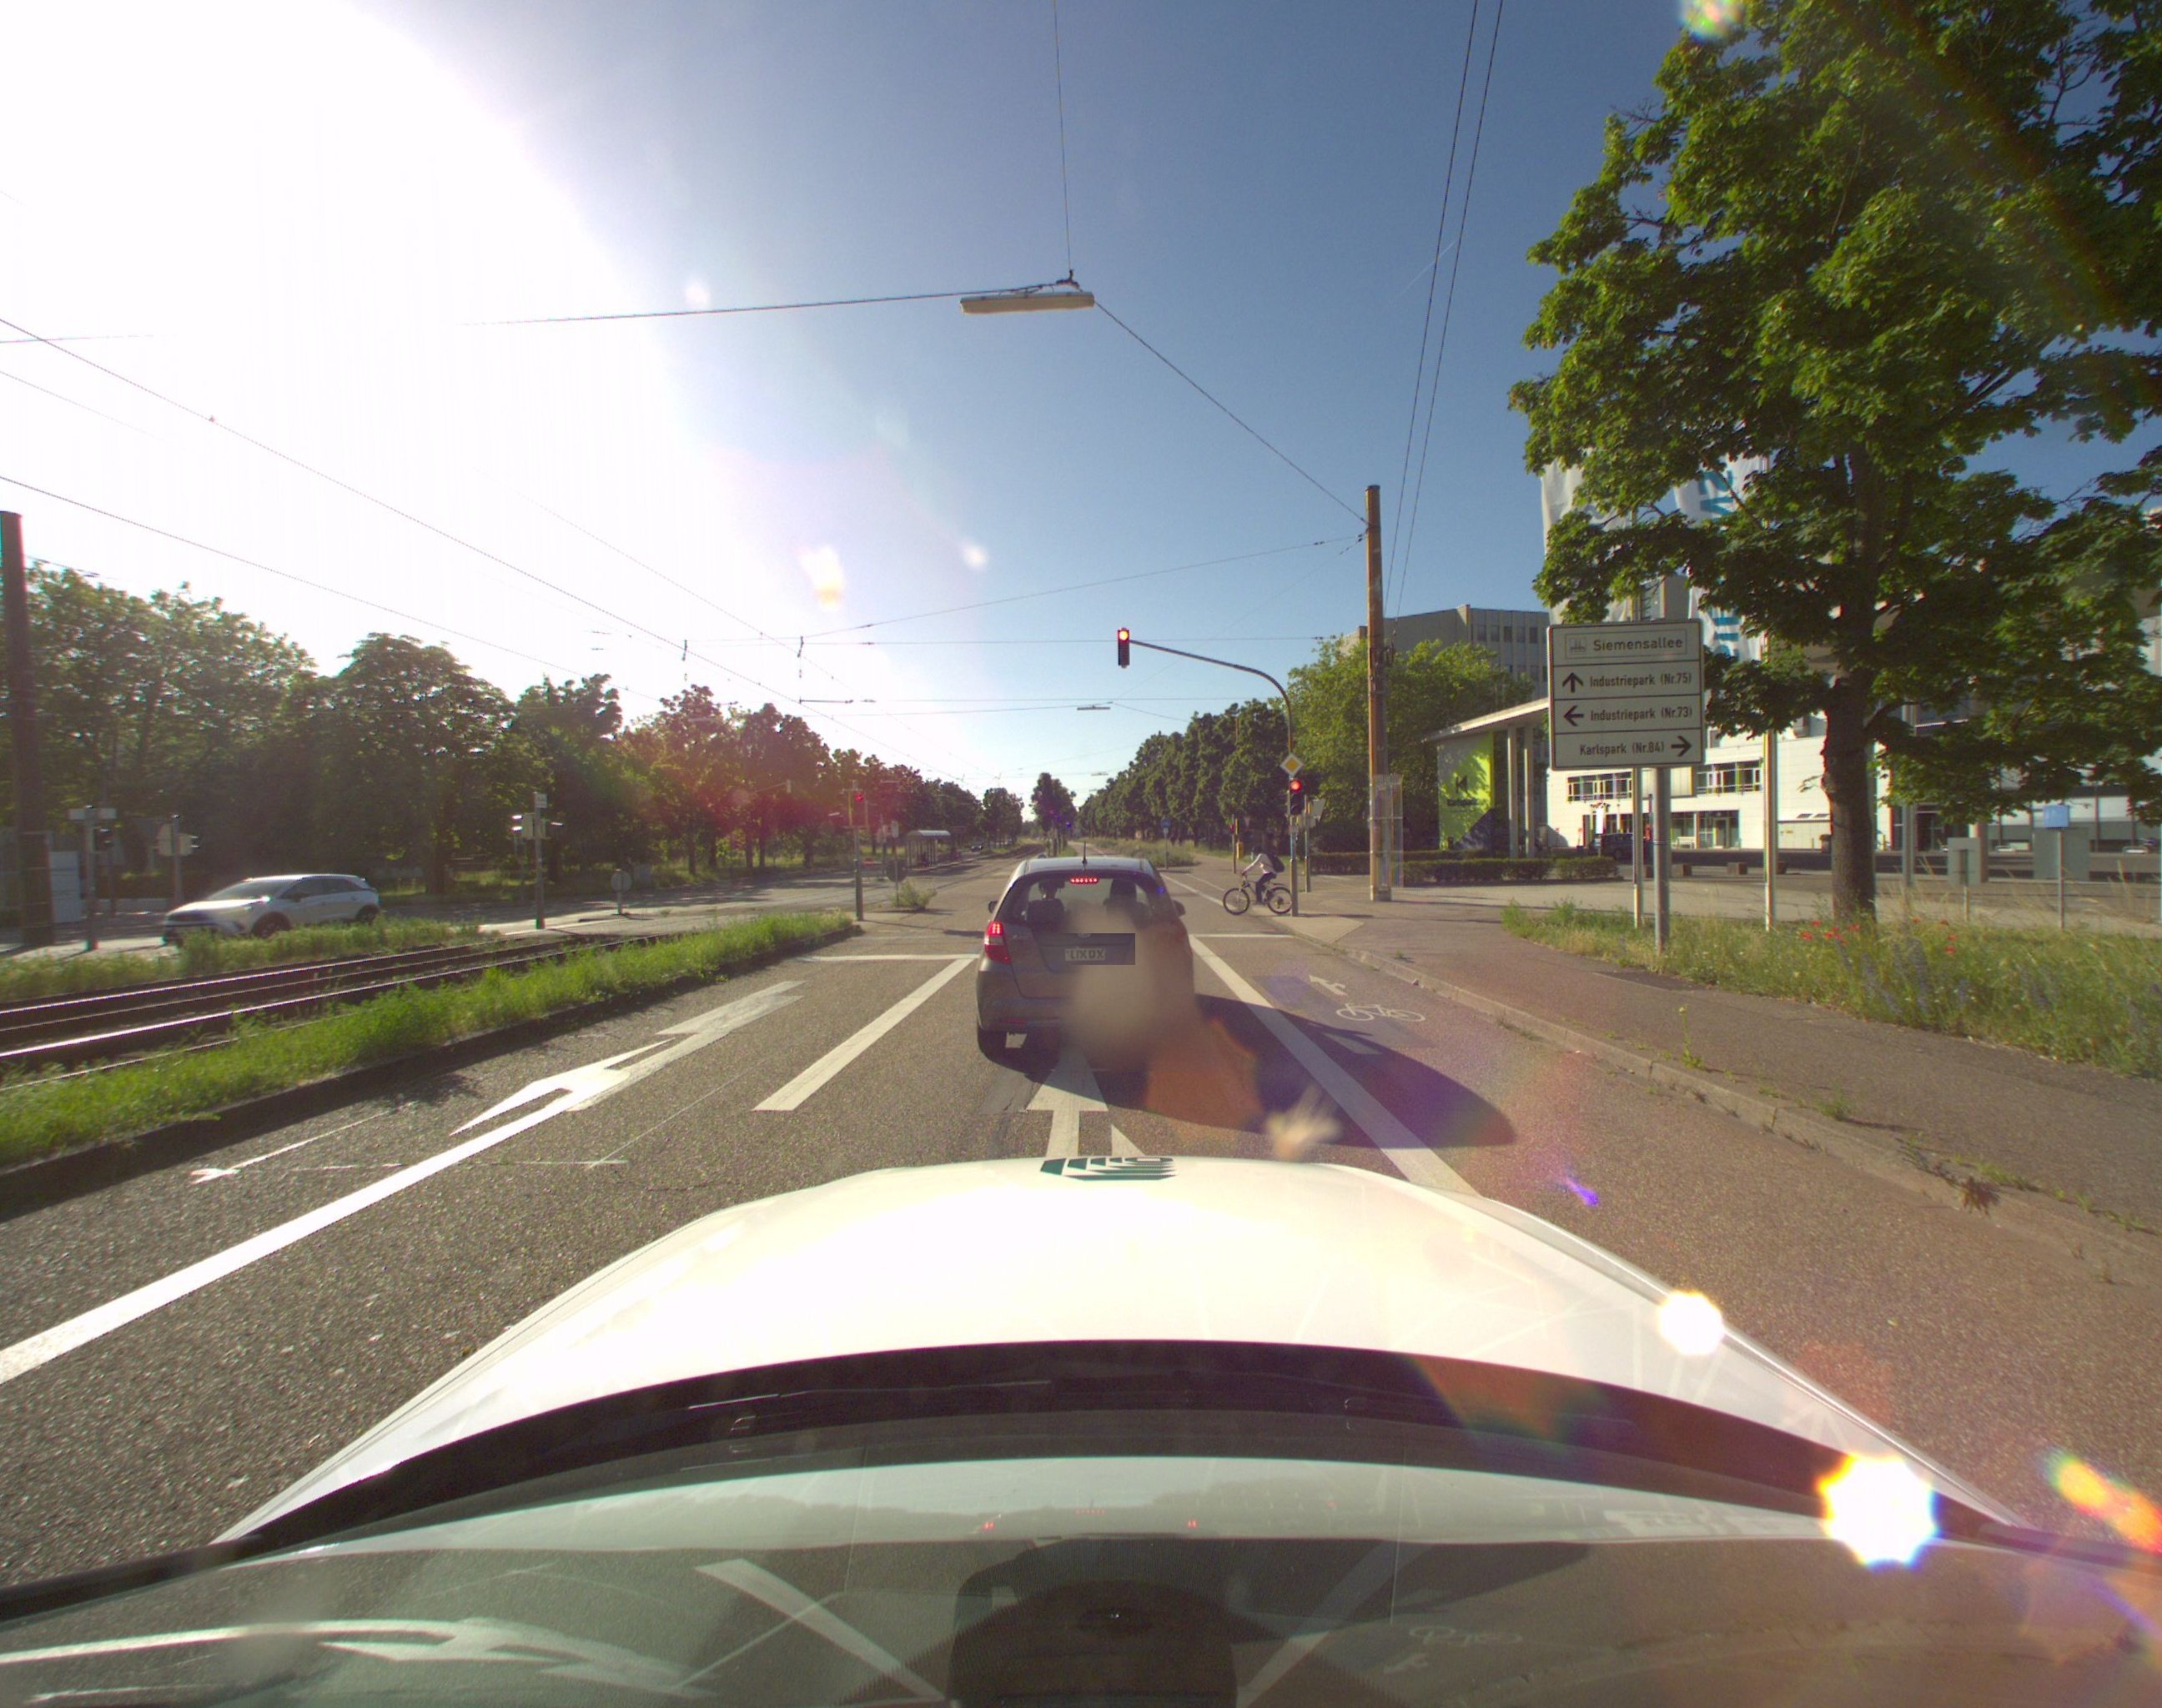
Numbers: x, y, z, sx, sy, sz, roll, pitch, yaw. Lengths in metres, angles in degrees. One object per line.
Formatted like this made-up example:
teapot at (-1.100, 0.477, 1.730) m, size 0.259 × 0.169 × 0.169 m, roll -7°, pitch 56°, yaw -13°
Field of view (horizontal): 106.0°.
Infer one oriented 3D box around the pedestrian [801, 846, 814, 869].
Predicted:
pedestrian at (-24.194, 0.339, 72.028) m, size 0.837 × 2.013 × 0.863 m, roll -1°, pitch 0°, yaw 0°

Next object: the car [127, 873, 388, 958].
car at (-18.775, 1.310, 18.919) m, size 1.846 × 1.606 × 4.250 m, roll -1°, pitch 0°, yaw -3°

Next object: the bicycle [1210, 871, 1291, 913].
bicycle at (4.165, 0.919, 20.040) m, size 1.907 × 0.998 × 0.767 m, roll 0°, pitch 0°, yaw 12°

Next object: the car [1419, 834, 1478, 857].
car at (30.136, -0.710, 66.803) m, size 3.989 × 1.757 × 1.993 m, roll -1°, pitch 0°, yaw -11°

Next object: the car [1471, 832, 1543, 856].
car at (31.208, -0.743, 59.705) m, size 4.538 × 1.629 × 1.869 m, roll -1°, pitch 0°, yaw -11°

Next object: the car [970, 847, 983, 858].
car at (-18.216, -0.249, 142.255) m, size 1.761 × 1.738 × 3.999 m, roll -1°, pitch 0°, yaw 0°

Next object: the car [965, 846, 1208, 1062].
car at (0.121, 0.704, 7.735) m, size 1.700 × 1.509 × 4.002 m, roll -1°, pitch 0°, yaw 2°

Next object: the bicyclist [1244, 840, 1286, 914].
bicyclist at (4.510, 0.552, 19.978) m, size 0.904 × 1.745 × 0.767 m, roll -3°, pitch -1°, yaw 12°

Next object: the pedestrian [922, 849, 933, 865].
pedestrian at (-12.466, 0.234, 66.109) m, size 0.718 × 1.246 × 0.710 m, roll -2°, pitch 0°, yaw 0°

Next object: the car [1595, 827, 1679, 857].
car at (33.732, -0.701, 49.447) m, size 3.984 × 1.720 × 1.895 m, roll -1°, pitch 0°, yaw -8°

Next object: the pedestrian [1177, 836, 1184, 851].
pedestrian at (10.814, -1.160, 88.826) m, size 0.676 × 1.610 × 0.720 m, roll 0°, pitch 0°, yaw -1°

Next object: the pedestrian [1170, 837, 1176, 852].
pedestrian at (10.028, -1.048, 88.773) m, size 0.565 × 1.596 × 0.665 m, roll 0°, pitch 0°, yaw -2°
